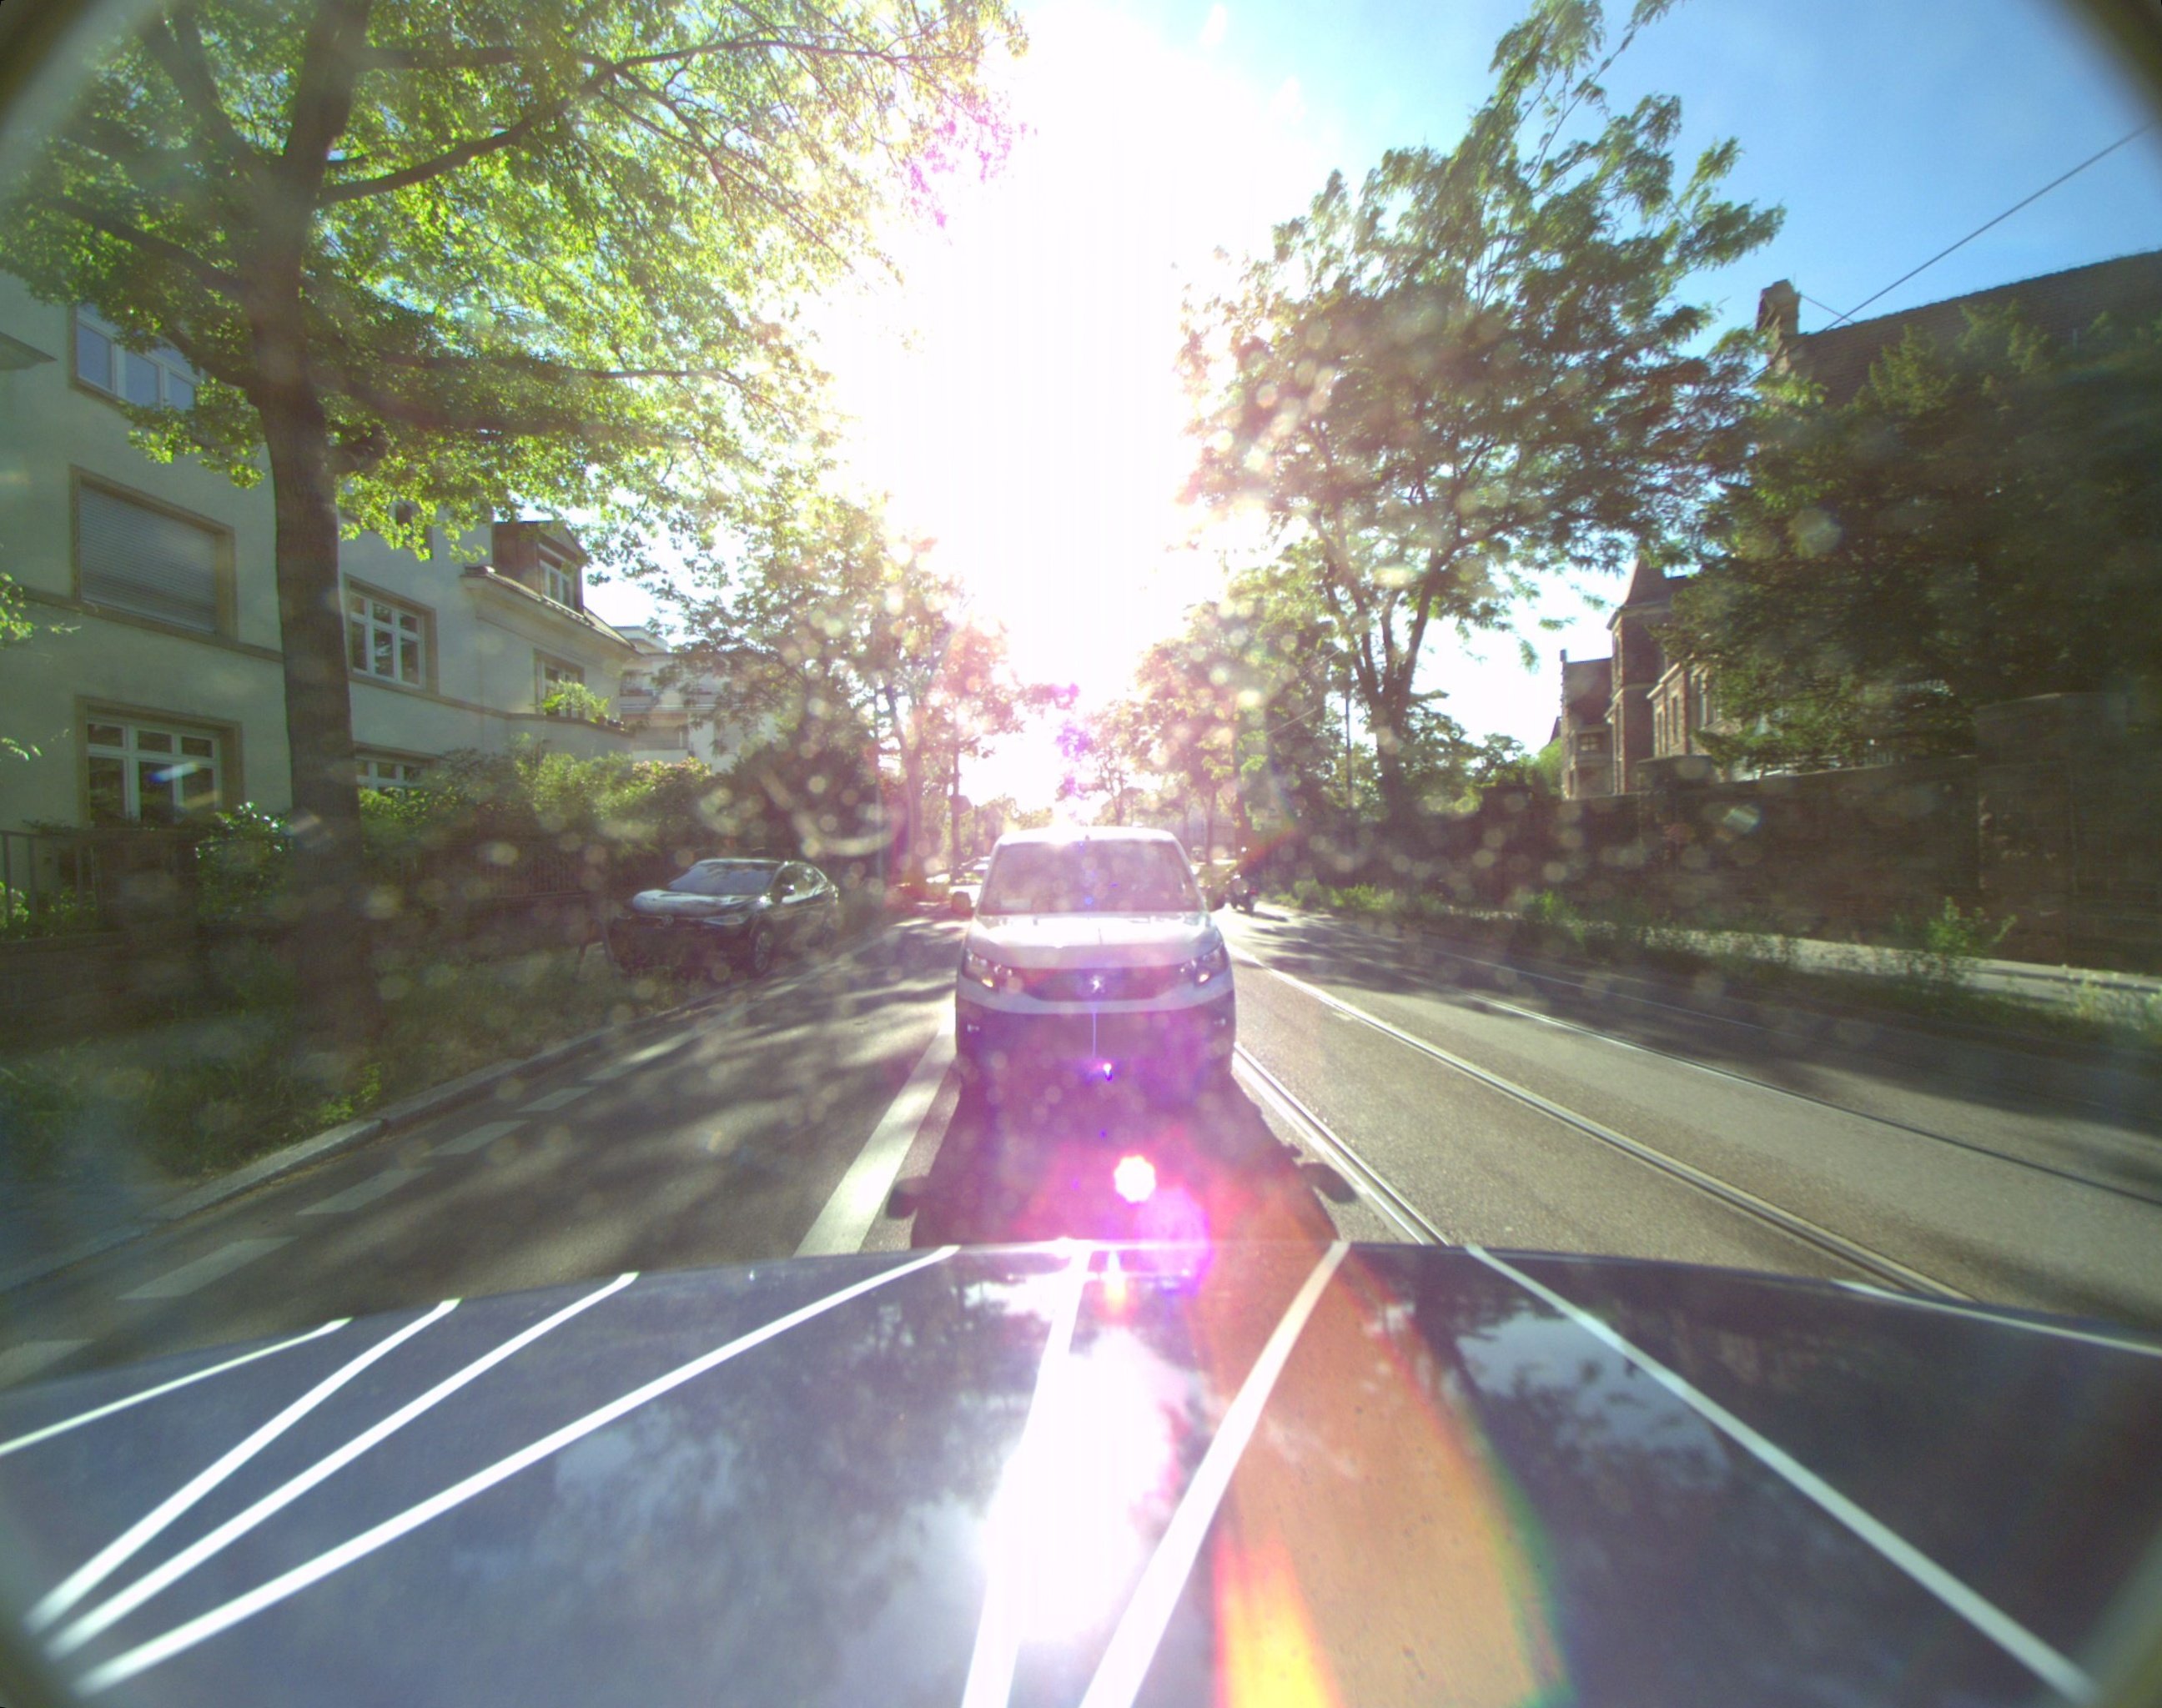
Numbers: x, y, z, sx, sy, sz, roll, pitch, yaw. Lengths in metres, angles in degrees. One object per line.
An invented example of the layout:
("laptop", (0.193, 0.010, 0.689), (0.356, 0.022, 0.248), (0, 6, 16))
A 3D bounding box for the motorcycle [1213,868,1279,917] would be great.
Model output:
("motorcycle", (4.267, 0.970, 19.897), (0.914, 1.146, 2.427), (-2, 0, -7))

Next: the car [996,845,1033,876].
("car", (-4.493, 0.428, 51.925), (1.998, 2.002, 4.583), (-2, 0, 1))

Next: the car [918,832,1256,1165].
("car", (0.051, 0.782, 6.532), (1.793, 1.770, 4.786), (-2, 0, 0))

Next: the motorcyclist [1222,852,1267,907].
("motorcyclist", (4.273, 0.649, 19.893), (0.892, 1.375, 0.908), (-2, 1, -7))

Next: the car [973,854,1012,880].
("car", (-5.245, 0.750, 45.460), (1.787, 1.443, 4.000), (-2, 0, 1))

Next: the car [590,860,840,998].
("car", (-5.162, 0.942, 11.418), (1.743, 1.597, 4.091), (2, 0, 0))
